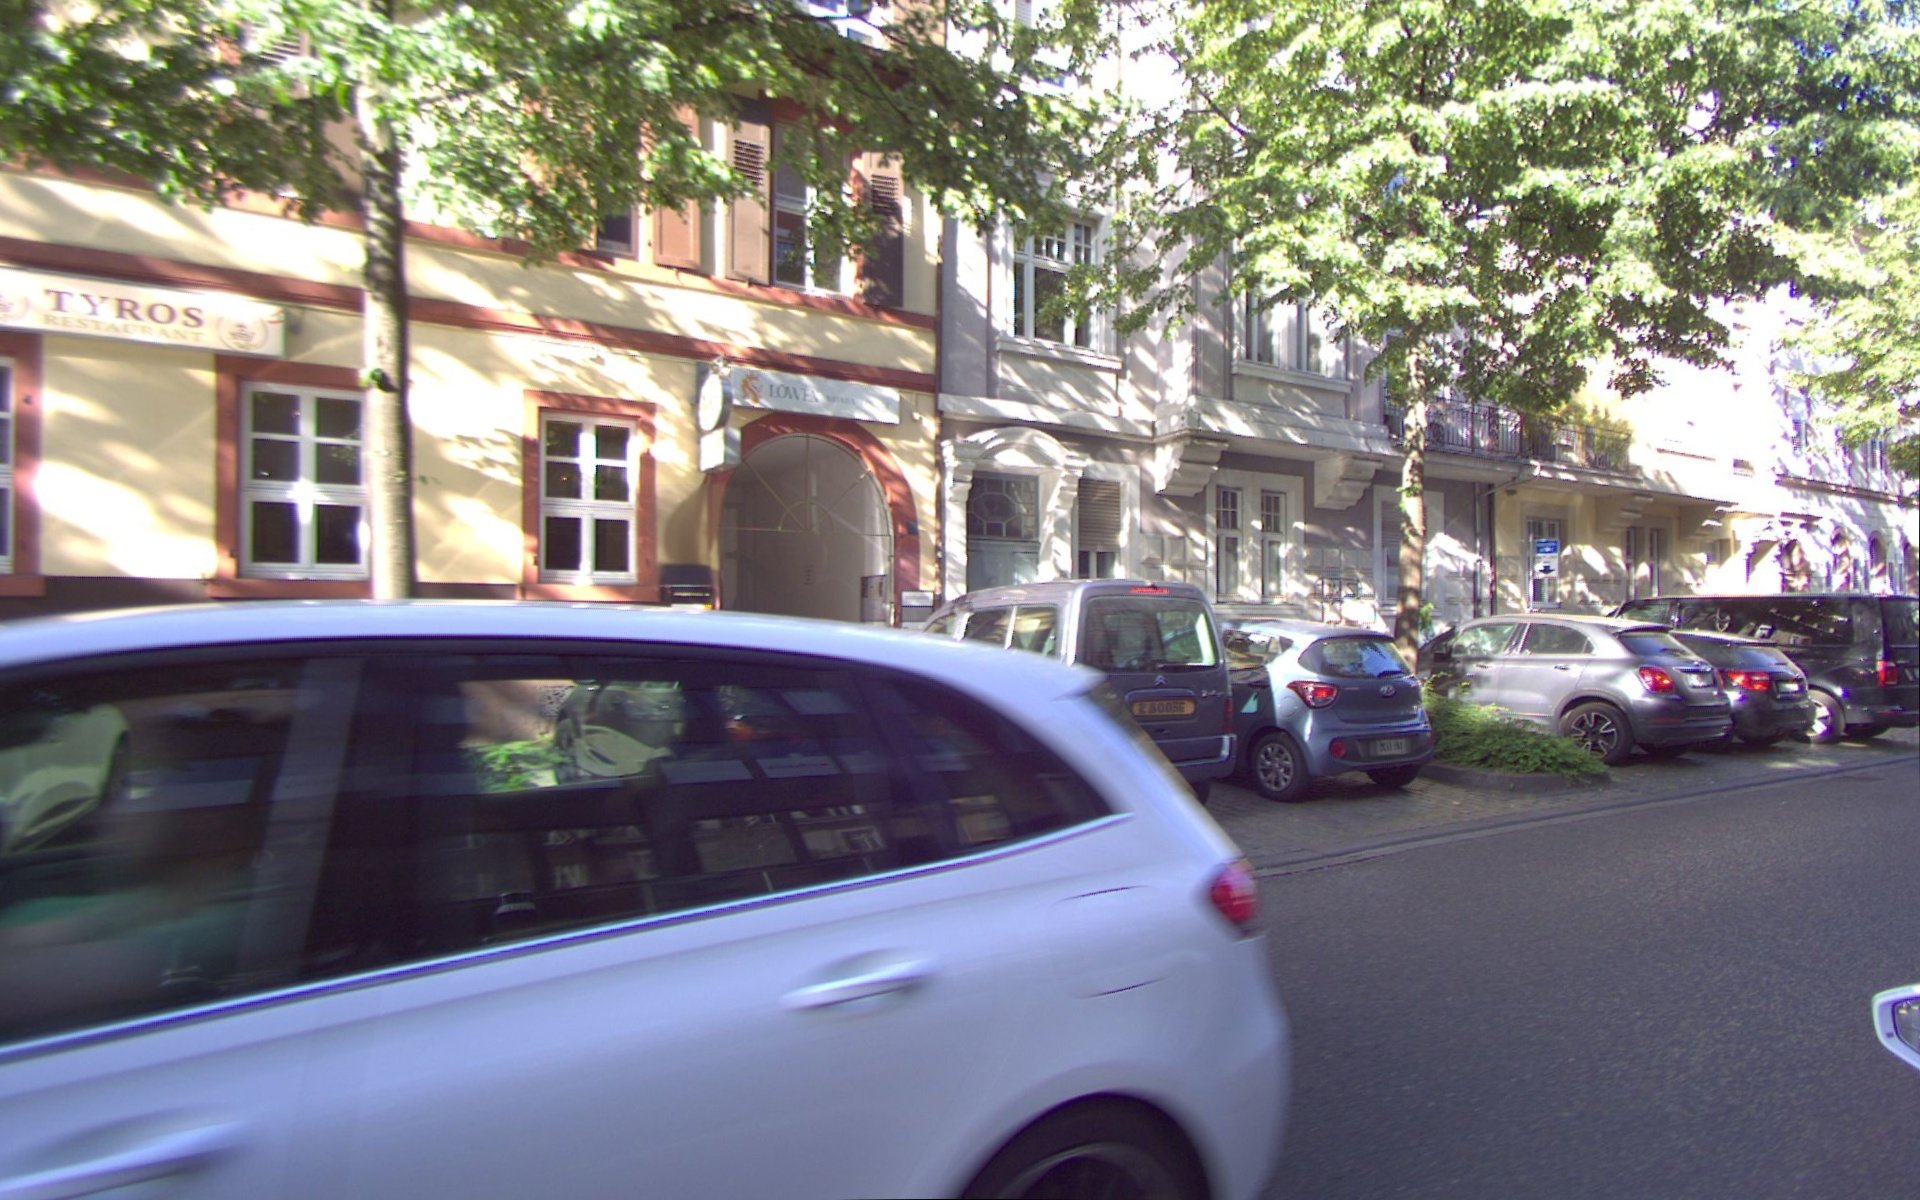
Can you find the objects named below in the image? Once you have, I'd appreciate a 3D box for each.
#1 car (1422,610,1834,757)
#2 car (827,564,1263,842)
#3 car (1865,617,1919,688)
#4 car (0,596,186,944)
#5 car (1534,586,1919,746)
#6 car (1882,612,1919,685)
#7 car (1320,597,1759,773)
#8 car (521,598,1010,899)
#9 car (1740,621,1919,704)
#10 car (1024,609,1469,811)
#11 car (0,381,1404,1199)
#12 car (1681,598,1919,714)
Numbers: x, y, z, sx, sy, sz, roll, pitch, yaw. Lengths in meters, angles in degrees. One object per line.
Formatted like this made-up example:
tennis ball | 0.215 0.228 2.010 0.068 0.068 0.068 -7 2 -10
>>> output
car | 8.845 0.978 13.714 1.895 1.616 4.316 1 0 -31
car | 0.447 0.704 9.054 1.906 1.848 4.322 1 0 -28
car | 22.616 1.180 21.500 1.892 1.561 4.449 1 0 -27
car | -6.008 0.765 5.564 1.975 1.512 4.679 0 1 -28
car | 11.194 0.821 14.721 1.905 1.952 4.556 1 0 -27
car | 24.411 1.169 23.144 1.894 1.732 4.319 1 0 -29
car | 6.849 0.861 12.379 1.895 1.756 4.316 1 0 -31
car | -1.740 0.786 7.553 1.946 1.565 4.308 1 -1 -37
car | 17.861 1.170 19.177 1.895 1.458 4.317 1 0 -31
car | 2.623 0.902 10.296 1.893 1.565 4.320 1 0 -29
car | -1.372 0.586 1.883 4.303 1.565 1.901 1 -2 -30
car | 15.510 0.915 17.628 1.900 1.858 4.304 1 0 -39
